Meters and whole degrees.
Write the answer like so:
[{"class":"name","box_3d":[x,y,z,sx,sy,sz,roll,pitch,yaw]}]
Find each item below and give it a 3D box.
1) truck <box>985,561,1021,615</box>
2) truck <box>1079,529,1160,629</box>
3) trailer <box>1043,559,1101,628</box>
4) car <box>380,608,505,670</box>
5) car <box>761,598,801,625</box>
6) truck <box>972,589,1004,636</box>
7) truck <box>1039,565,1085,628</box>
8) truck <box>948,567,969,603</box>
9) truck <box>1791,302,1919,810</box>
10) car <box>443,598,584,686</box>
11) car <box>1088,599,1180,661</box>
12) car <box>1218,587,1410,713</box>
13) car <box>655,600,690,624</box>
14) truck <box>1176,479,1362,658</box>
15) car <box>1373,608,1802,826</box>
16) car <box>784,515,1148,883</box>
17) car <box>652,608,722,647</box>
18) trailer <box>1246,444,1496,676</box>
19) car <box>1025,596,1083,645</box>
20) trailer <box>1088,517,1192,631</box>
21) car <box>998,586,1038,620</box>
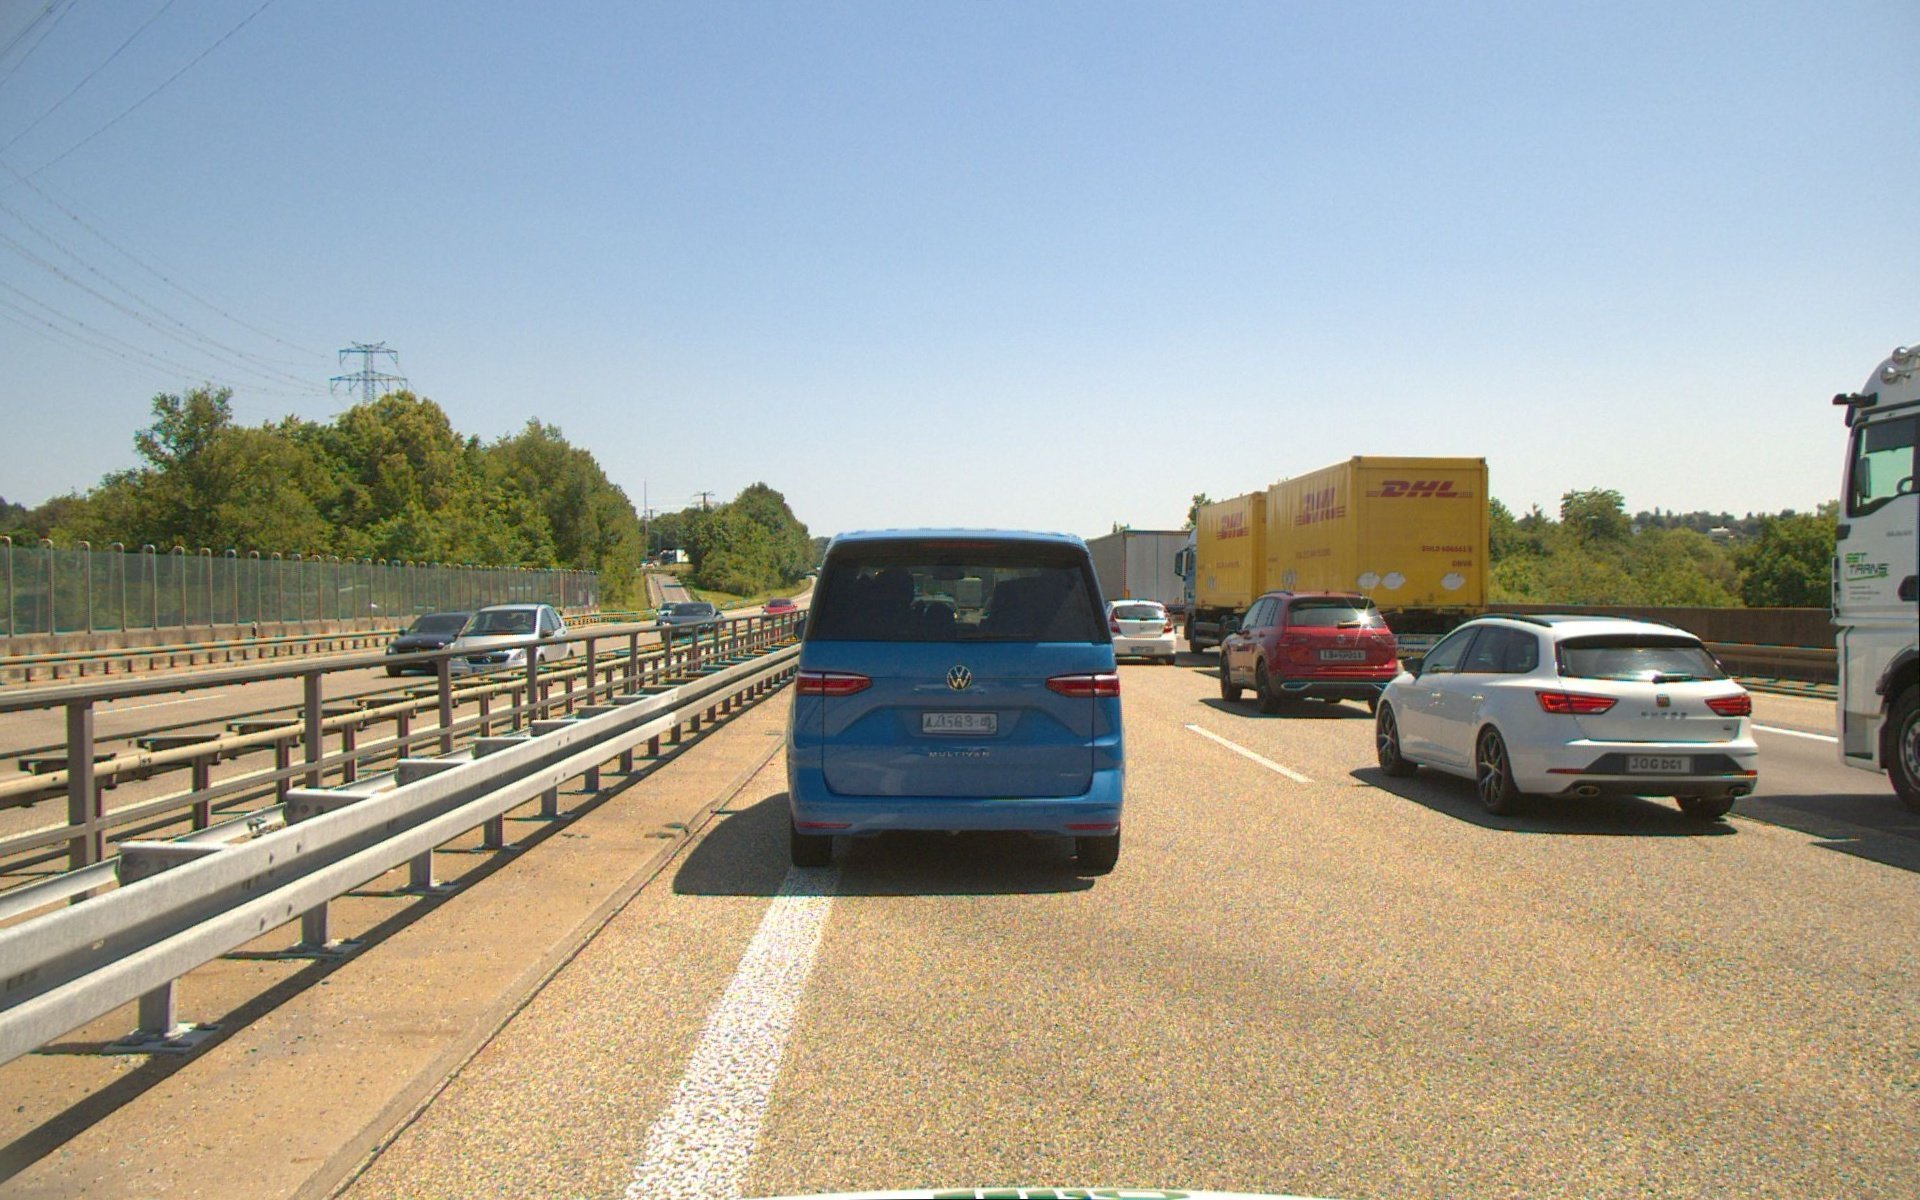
[{"class":"truck","box_3d":[4.209,-1.105,164.822,2.777,5.128,11.139,1,-1,-3]},{"class":"truck","box_3d":[7.005,-0.869,73.671,2.712,4.167,6.982,1,0,-1]},{"class":"trailer","box_3d":[6.533,-0.305,97.928,2.331,3.810,11.184,1,-1,-2]},{"class":"car","box_3d":[-12.562,0.930,40.439,1.764,1.410,4.262,1,-1,-1]},{"class":"car","box_3d":[-10.030,0.653,92.981,1.805,1.472,4.417,1,-1,-1]},{"class":"truck","box_3d":[3.143,1.443,189.091,2.777,5.128,11.810,1,-1,-3]},{"class":"truck","box_3d":[6.324,-0.207,103.417,2.320,3.787,6.031,1,-1,-2]},{"class":"truck","box_3d":[-0.272,-2.378,266.411,2.777,5.467,12.548,1,-1,-3]},{"class":"truck","box_3d":[8.447,-0.324,8.334,2.793,3.666,10.764,1,0,-2]},{"class":"car","box_3d":[-8.604,0.769,32.151,1.803,1.556,3.557,-1,0,-1]},{"class":"car","box_3d":[4.202,0.700,40.496,1.801,1.438,3.999,0,0,-1]},{"class":"car","box_3d":[4.922,0.645,23.540,1.813,1.636,3.999,0,0,-1]},{"class":"car","box_3d":[-18.187,0.746,104.617,1.572,1.418,3.676,-2,0,-1]},{"class":"truck","box_3d":[7.869,-0.686,43.670,2.667,4.125,10.332,1,-1,-2]},{"class":"car","box_3d":[4.691,0.789,13.072,1.745,1.411,4.187,0,0,-1]},{"class":"car","box_3d":[-0.003,0.504,10.422,1.844,1.869,3.999,0,0,-1]},{"class":"car","box_3d":[-9.784,0.971,59.623,1.858,1.338,4.370,1,-1,-1]},{"class":"trailer","box_3d":[8.125,-0.681,34.023,2.647,4.094,8.927,1,-1,-2]},{"class":"car","box_3d":[3.170,0.710,56.244,1.680,1.615,3.819,0,-1,-1]},{"class":"trailer","box_3d":[7.151,-0.921,67.207,2.699,4.219,11.308,1,-1,-1]},{"class":"car","box_3d":[2.736,0.131,78.921,1.680,1.567,3.820,-1,0,-1]}]
